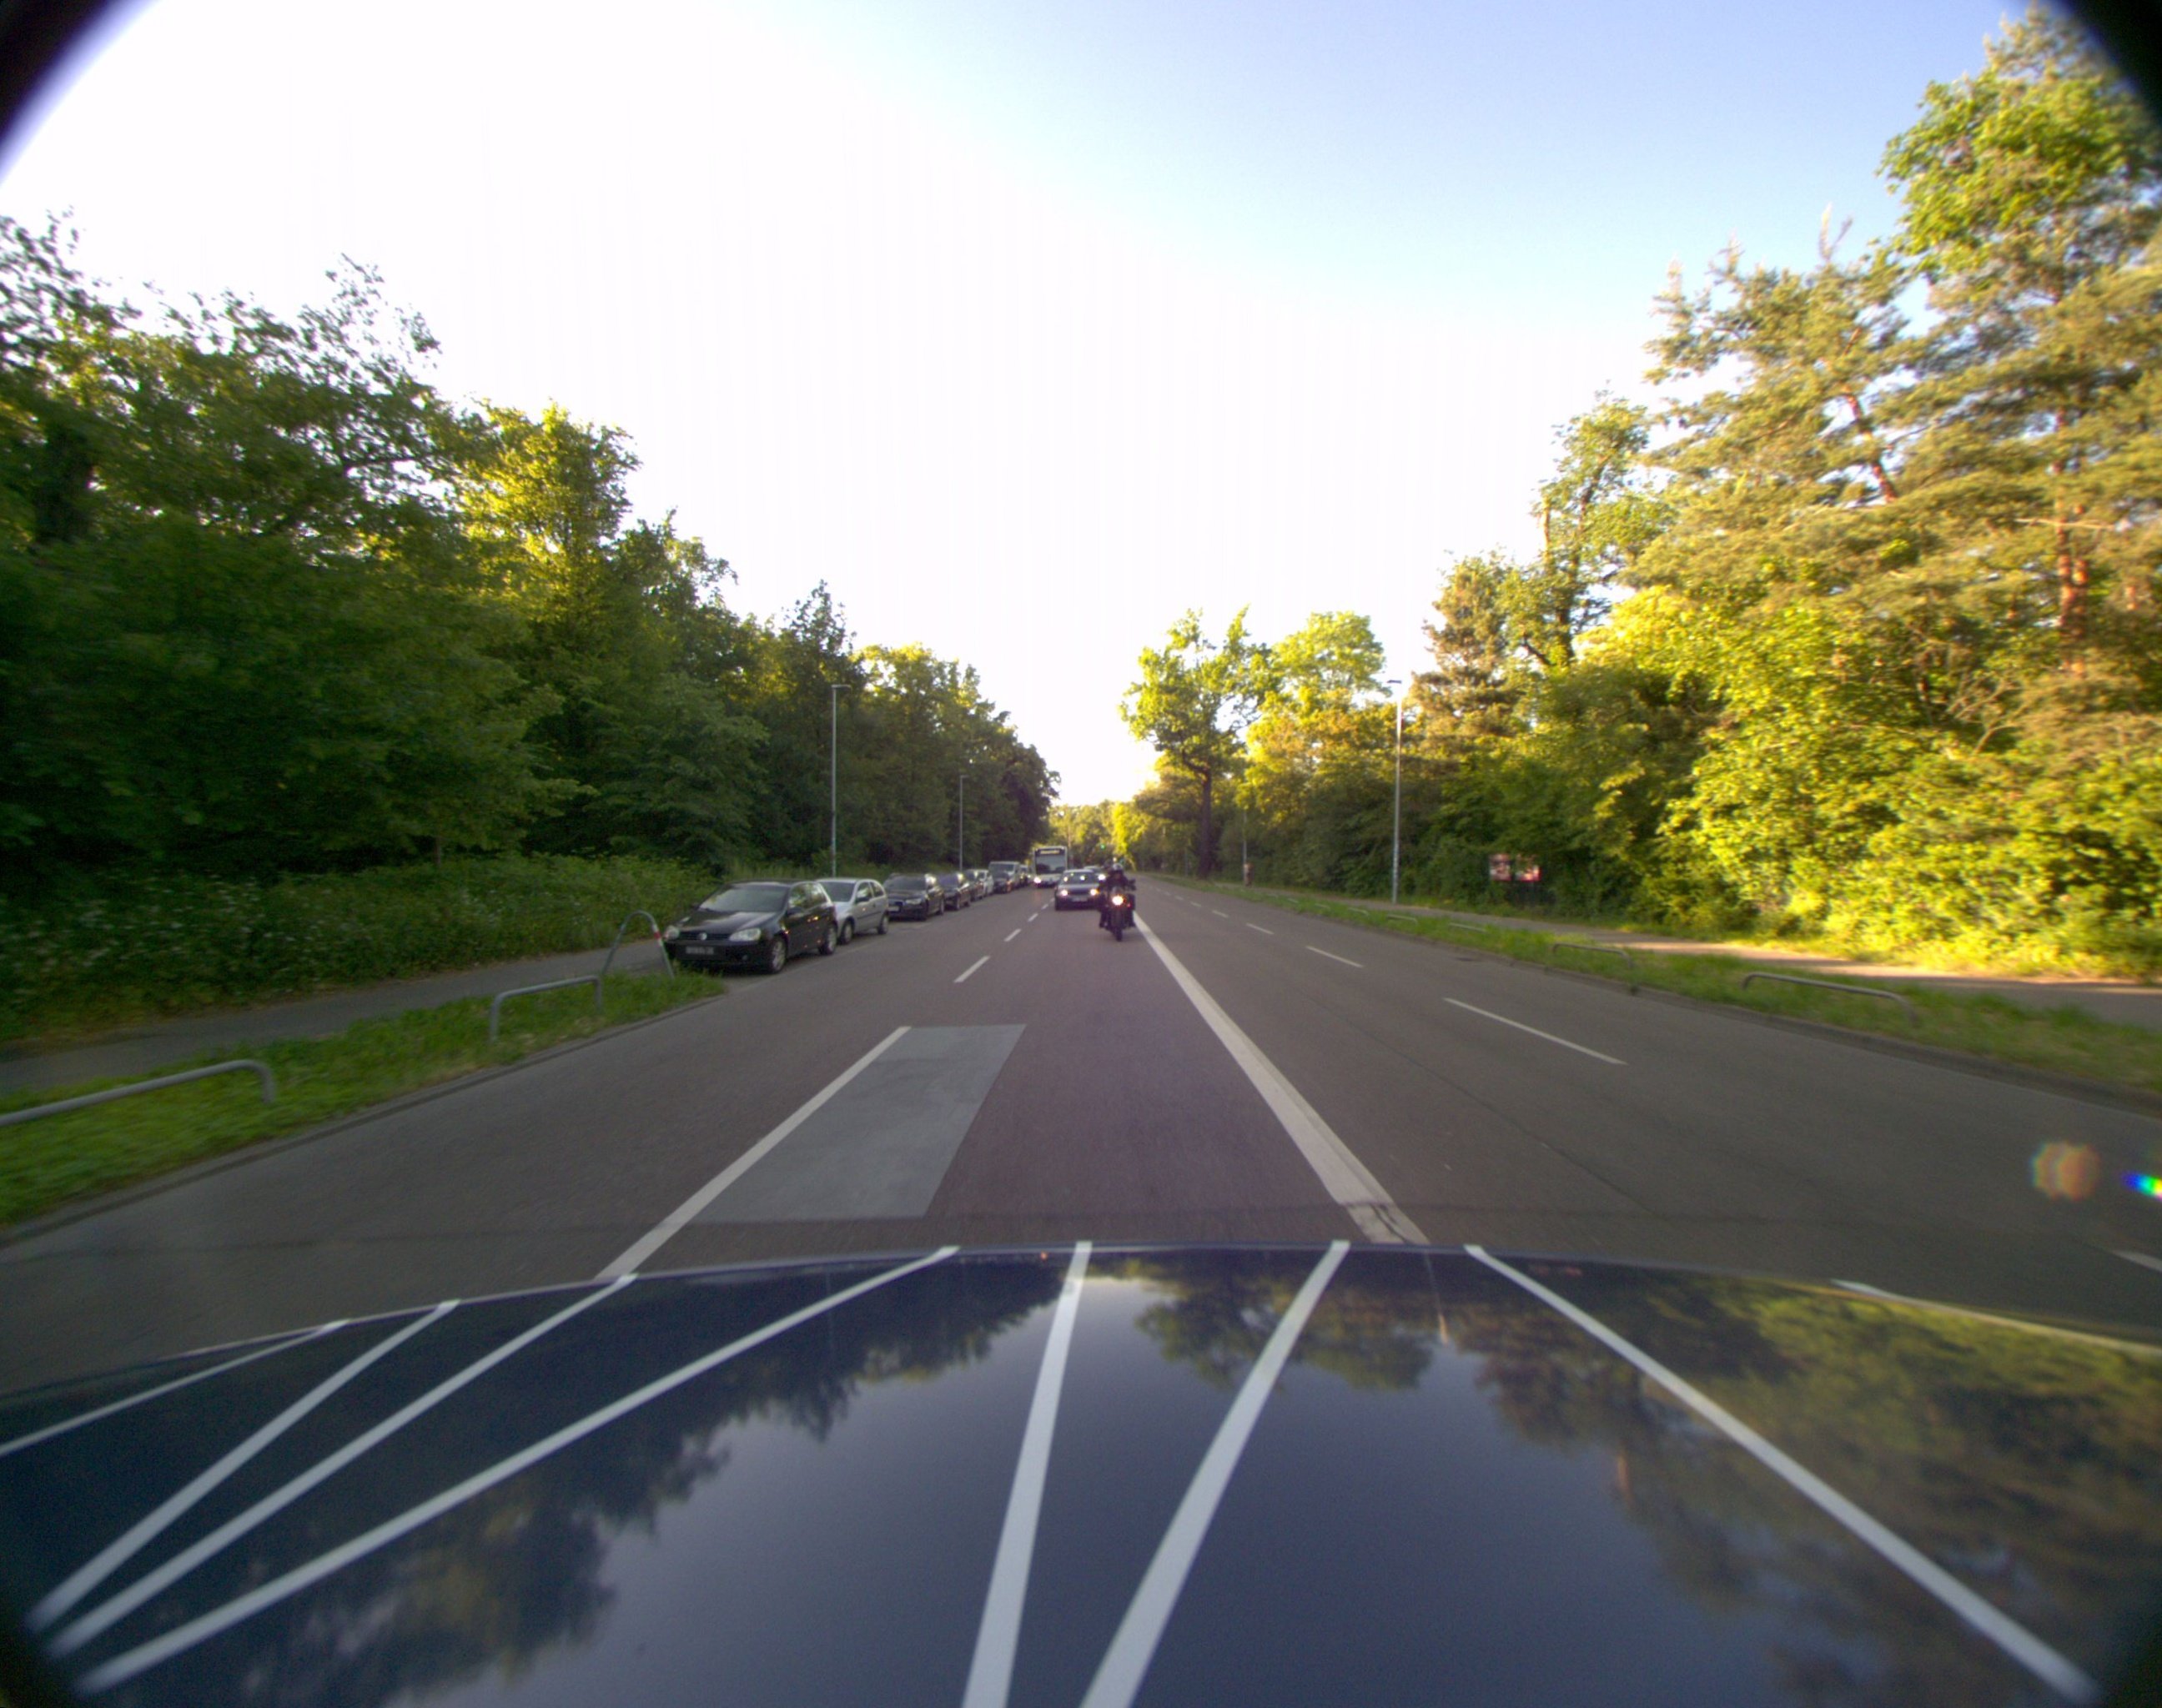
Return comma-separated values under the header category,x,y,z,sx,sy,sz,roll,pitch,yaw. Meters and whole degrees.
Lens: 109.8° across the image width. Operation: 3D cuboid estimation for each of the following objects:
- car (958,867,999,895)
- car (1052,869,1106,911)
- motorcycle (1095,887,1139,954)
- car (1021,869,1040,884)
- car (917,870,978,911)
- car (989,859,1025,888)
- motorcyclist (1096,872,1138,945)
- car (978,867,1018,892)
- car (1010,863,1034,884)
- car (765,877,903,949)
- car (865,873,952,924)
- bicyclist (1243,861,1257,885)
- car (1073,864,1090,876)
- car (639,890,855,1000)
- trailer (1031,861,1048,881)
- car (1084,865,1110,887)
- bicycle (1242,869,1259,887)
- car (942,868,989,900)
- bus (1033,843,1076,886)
category,x,y,z,sx,sy,sz,roll,pitch,yaw
car,-5.596,1.464,41.920,1.589,1.445,3.799,0,0,2
car,-0.006,1.265,27.835,1.678,1.351,3.995,-2,0,4
motorcycle,0.742,1.366,16.303,0.830,1.211,2.604,-1,0,1
car,-5.085,2.257,76.350,1.589,1.486,3.181,0,0,2
car,-5.308,1.414,30.705,1.641,1.445,4.897,0,0,-1
car,-5.146,1.316,53.470,1.873,1.969,5.475,0,0,1
motorcyclist,0.751,1.144,16.302,0.830,1.484,1.024,-1,0,1
car,-5.075,1.524,46.985,1.873,1.398,4.369,0,0,1
car,-5.114,1.653,66.026,1.763,1.793,4.737,0,0,-1
car,-5.754,1.320,18.251,1.778,1.445,4.015,0,0,4
car,-5.613,1.395,25.365,1.779,1.445,5.038,0,0,-1
bicyclist,11.450,1.277,51.506,0.714,1.549,1.143,-2,0,1
car,0.026,1.827,88.156,1.873,1.398,4.369,0,0,1
car,-5.610,1.445,13.464,1.778,1.445,4.388,0,0,2
trailer,-5.096,2.087,94.712,1.909,2.409,5.126,0,0,-1
car,1.227,1.622,56.924,1.678,1.552,3.995,-2,0,4
bicycle,11.463,1.636,51.508,0.714,1.140,1.993,-2,0,1
car,-5.545,1.422,36.963,1.589,1.445,3.944,0,0,2
bus,-1.953,0.838,61.308,2.812,3.029,12.887,-2,-1,1
